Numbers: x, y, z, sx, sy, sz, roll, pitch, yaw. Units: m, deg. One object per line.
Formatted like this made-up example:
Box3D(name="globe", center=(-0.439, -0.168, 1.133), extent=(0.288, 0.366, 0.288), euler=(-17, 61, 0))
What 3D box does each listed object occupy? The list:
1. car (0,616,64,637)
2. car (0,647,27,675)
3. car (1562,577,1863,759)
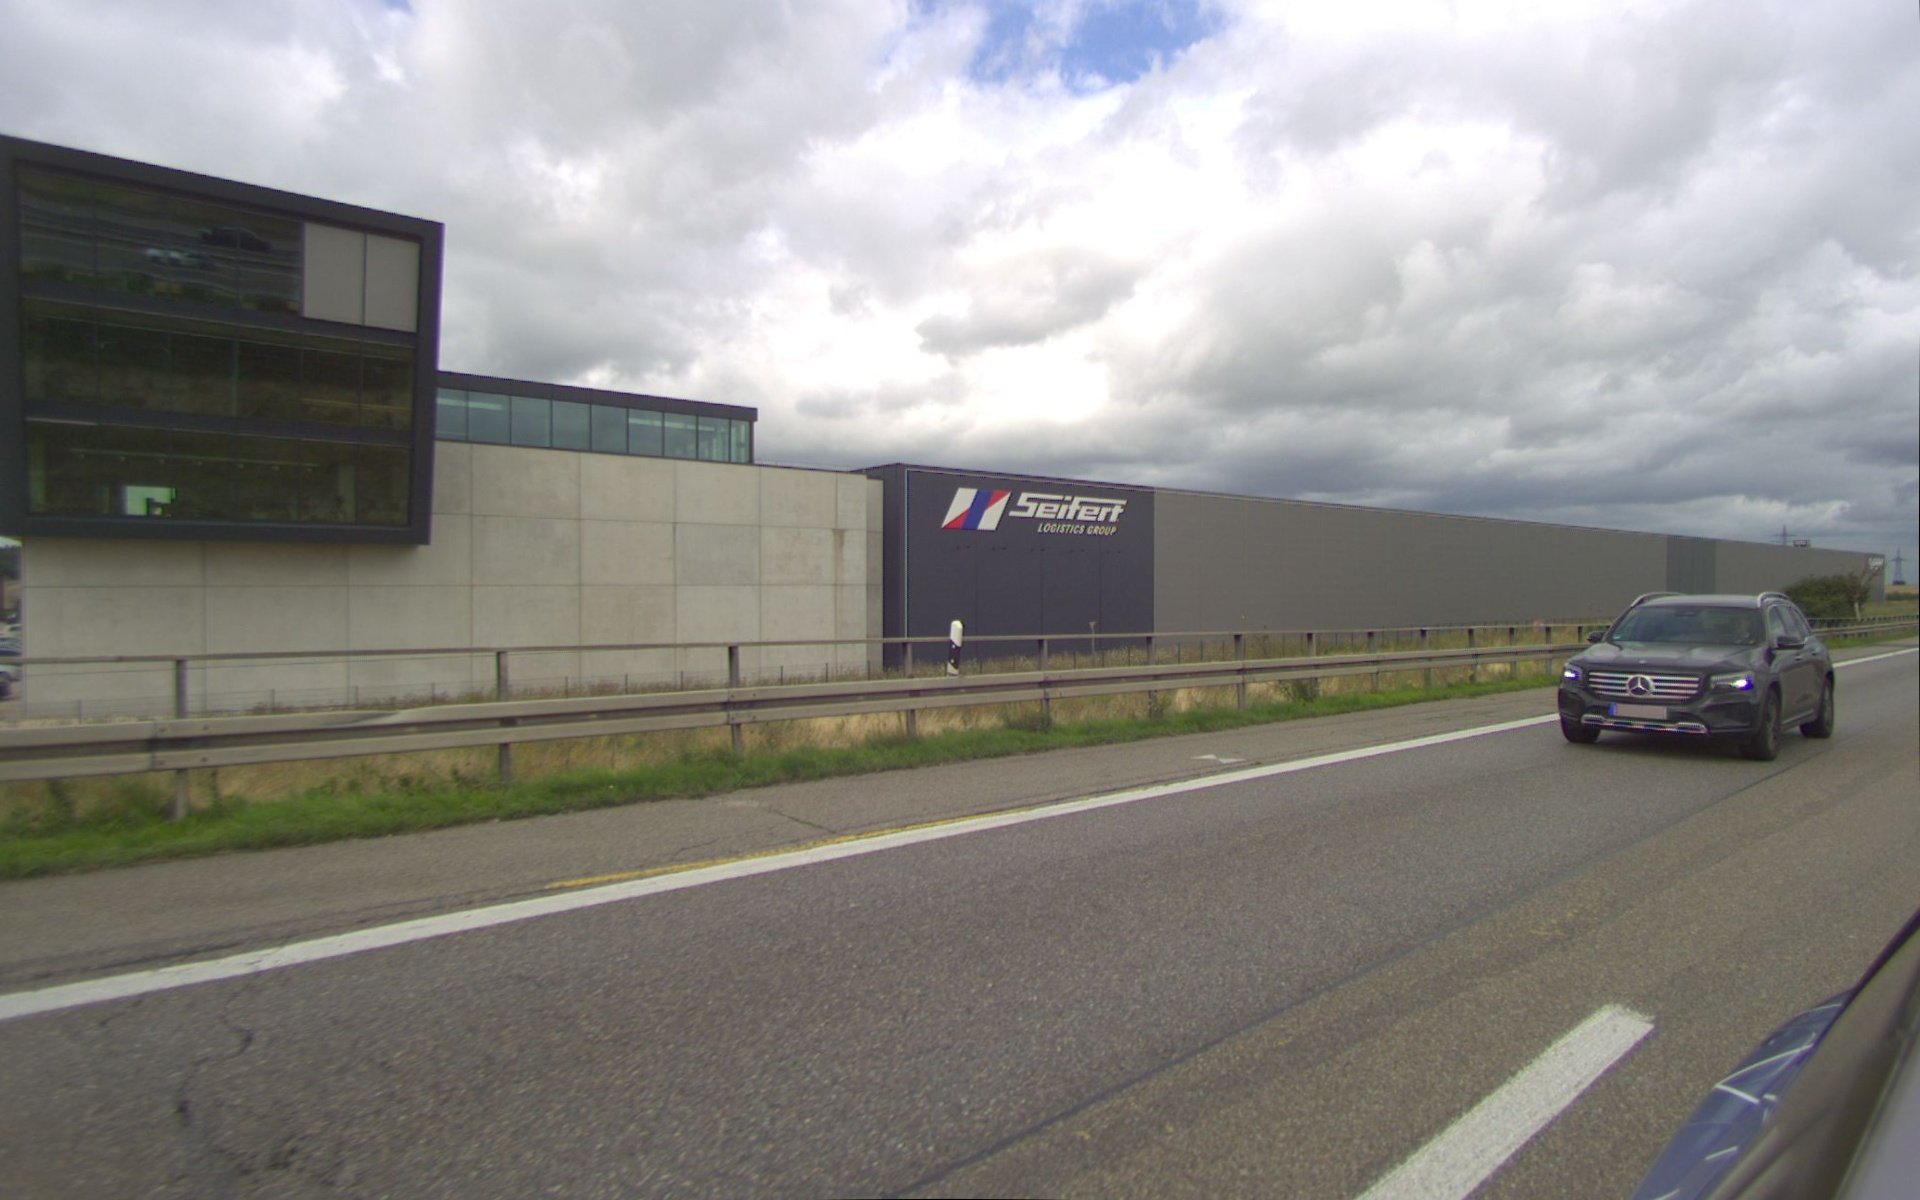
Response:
Box3D(name="car", center=(-75.051, 2.097, 81.327), extent=(4.484, 1.513, 1.678), euler=(-1, 0, -41))
Box3D(name="car", center=(-56.615, 3.549, 58.016), extent=(4.484, 1.513, 1.678), euler=(0, -1, -41))
Box3D(name="car", center=(8.598, 0.579, 11.424), extent=(4.285, 1.629, 1.837), euler=(-1, 3, -41))
